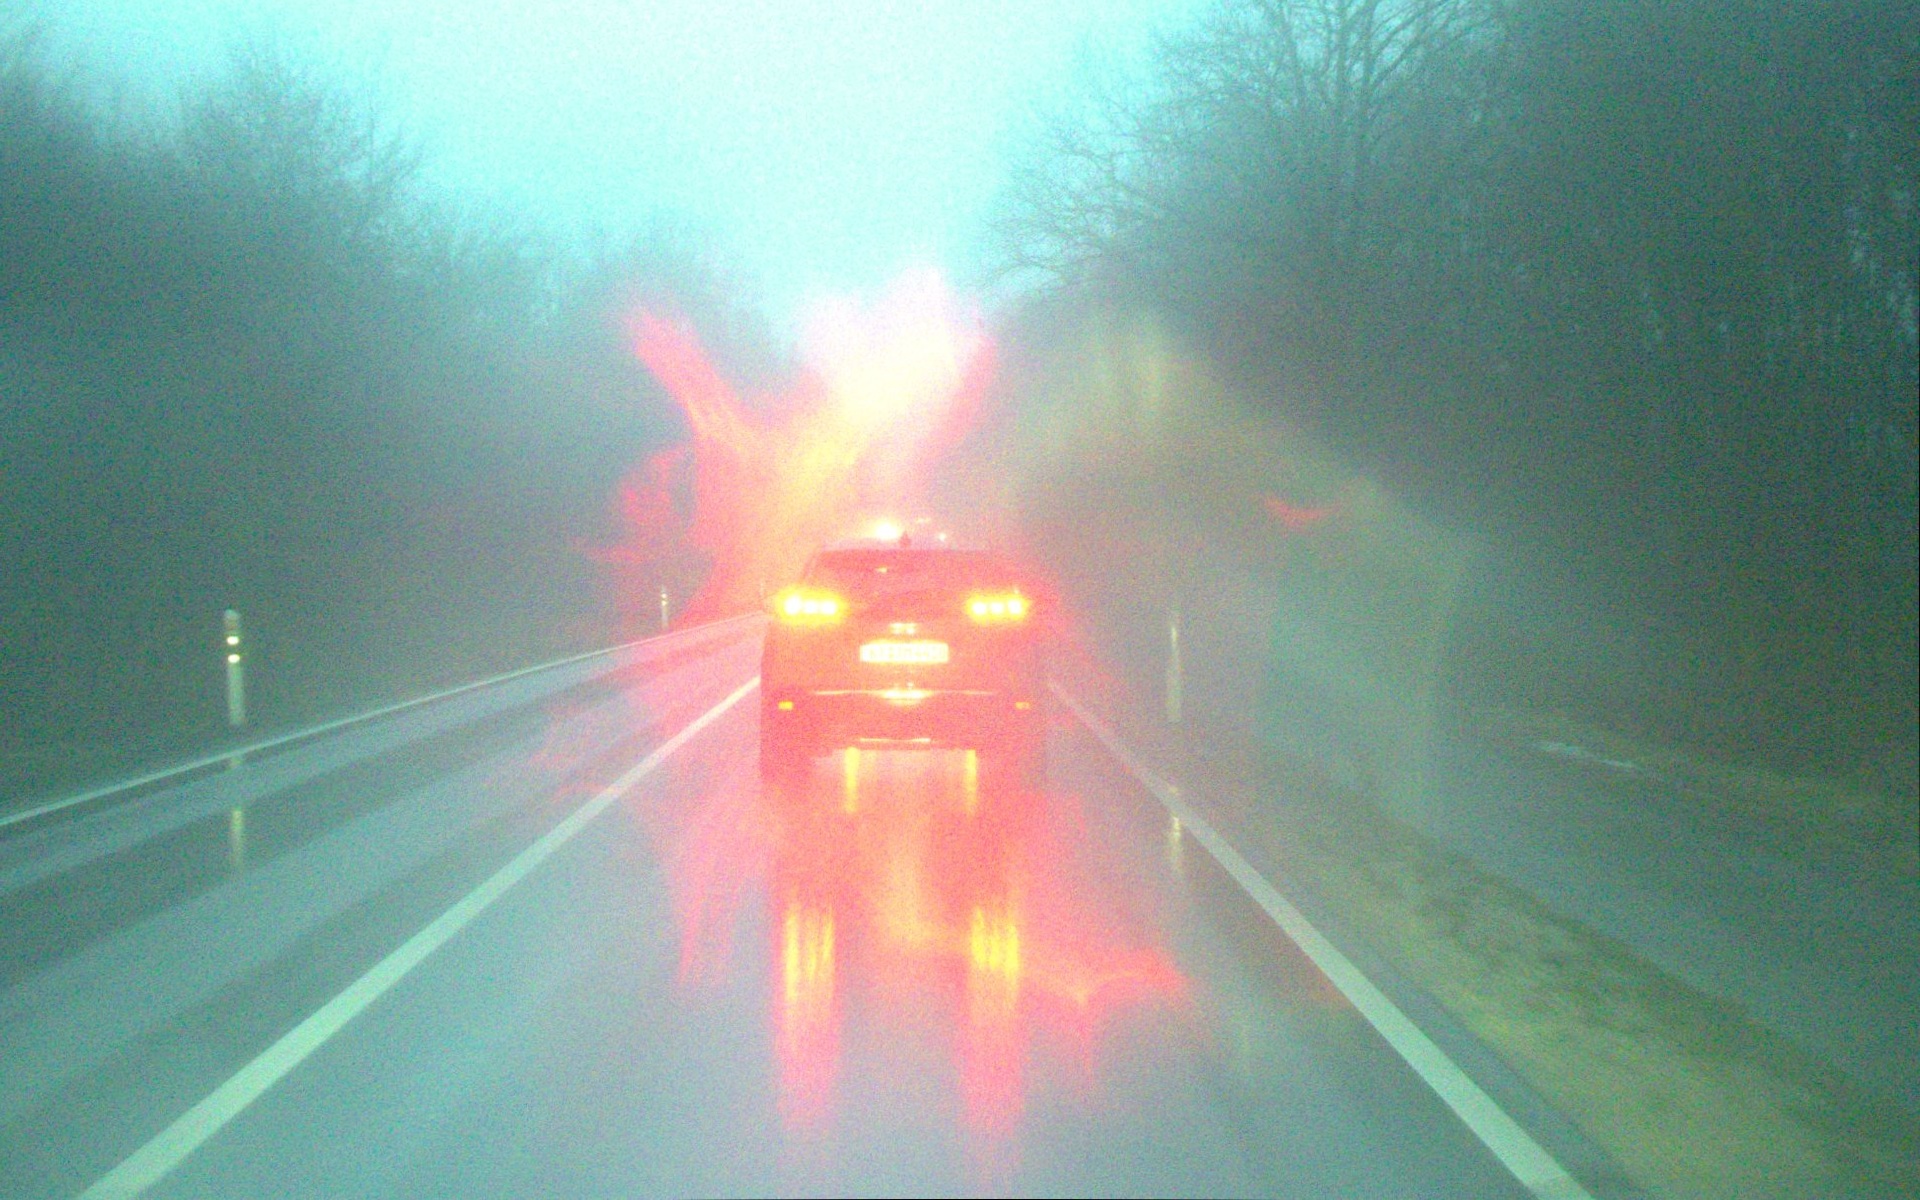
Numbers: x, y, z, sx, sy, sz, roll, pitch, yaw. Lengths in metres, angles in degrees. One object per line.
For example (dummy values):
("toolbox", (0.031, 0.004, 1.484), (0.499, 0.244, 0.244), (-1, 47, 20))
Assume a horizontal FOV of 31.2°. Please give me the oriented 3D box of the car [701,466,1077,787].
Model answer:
("car", (-0.466, 0.106, 22.713), (2.198, 1.871, 4.827), (1, 1, -1))
